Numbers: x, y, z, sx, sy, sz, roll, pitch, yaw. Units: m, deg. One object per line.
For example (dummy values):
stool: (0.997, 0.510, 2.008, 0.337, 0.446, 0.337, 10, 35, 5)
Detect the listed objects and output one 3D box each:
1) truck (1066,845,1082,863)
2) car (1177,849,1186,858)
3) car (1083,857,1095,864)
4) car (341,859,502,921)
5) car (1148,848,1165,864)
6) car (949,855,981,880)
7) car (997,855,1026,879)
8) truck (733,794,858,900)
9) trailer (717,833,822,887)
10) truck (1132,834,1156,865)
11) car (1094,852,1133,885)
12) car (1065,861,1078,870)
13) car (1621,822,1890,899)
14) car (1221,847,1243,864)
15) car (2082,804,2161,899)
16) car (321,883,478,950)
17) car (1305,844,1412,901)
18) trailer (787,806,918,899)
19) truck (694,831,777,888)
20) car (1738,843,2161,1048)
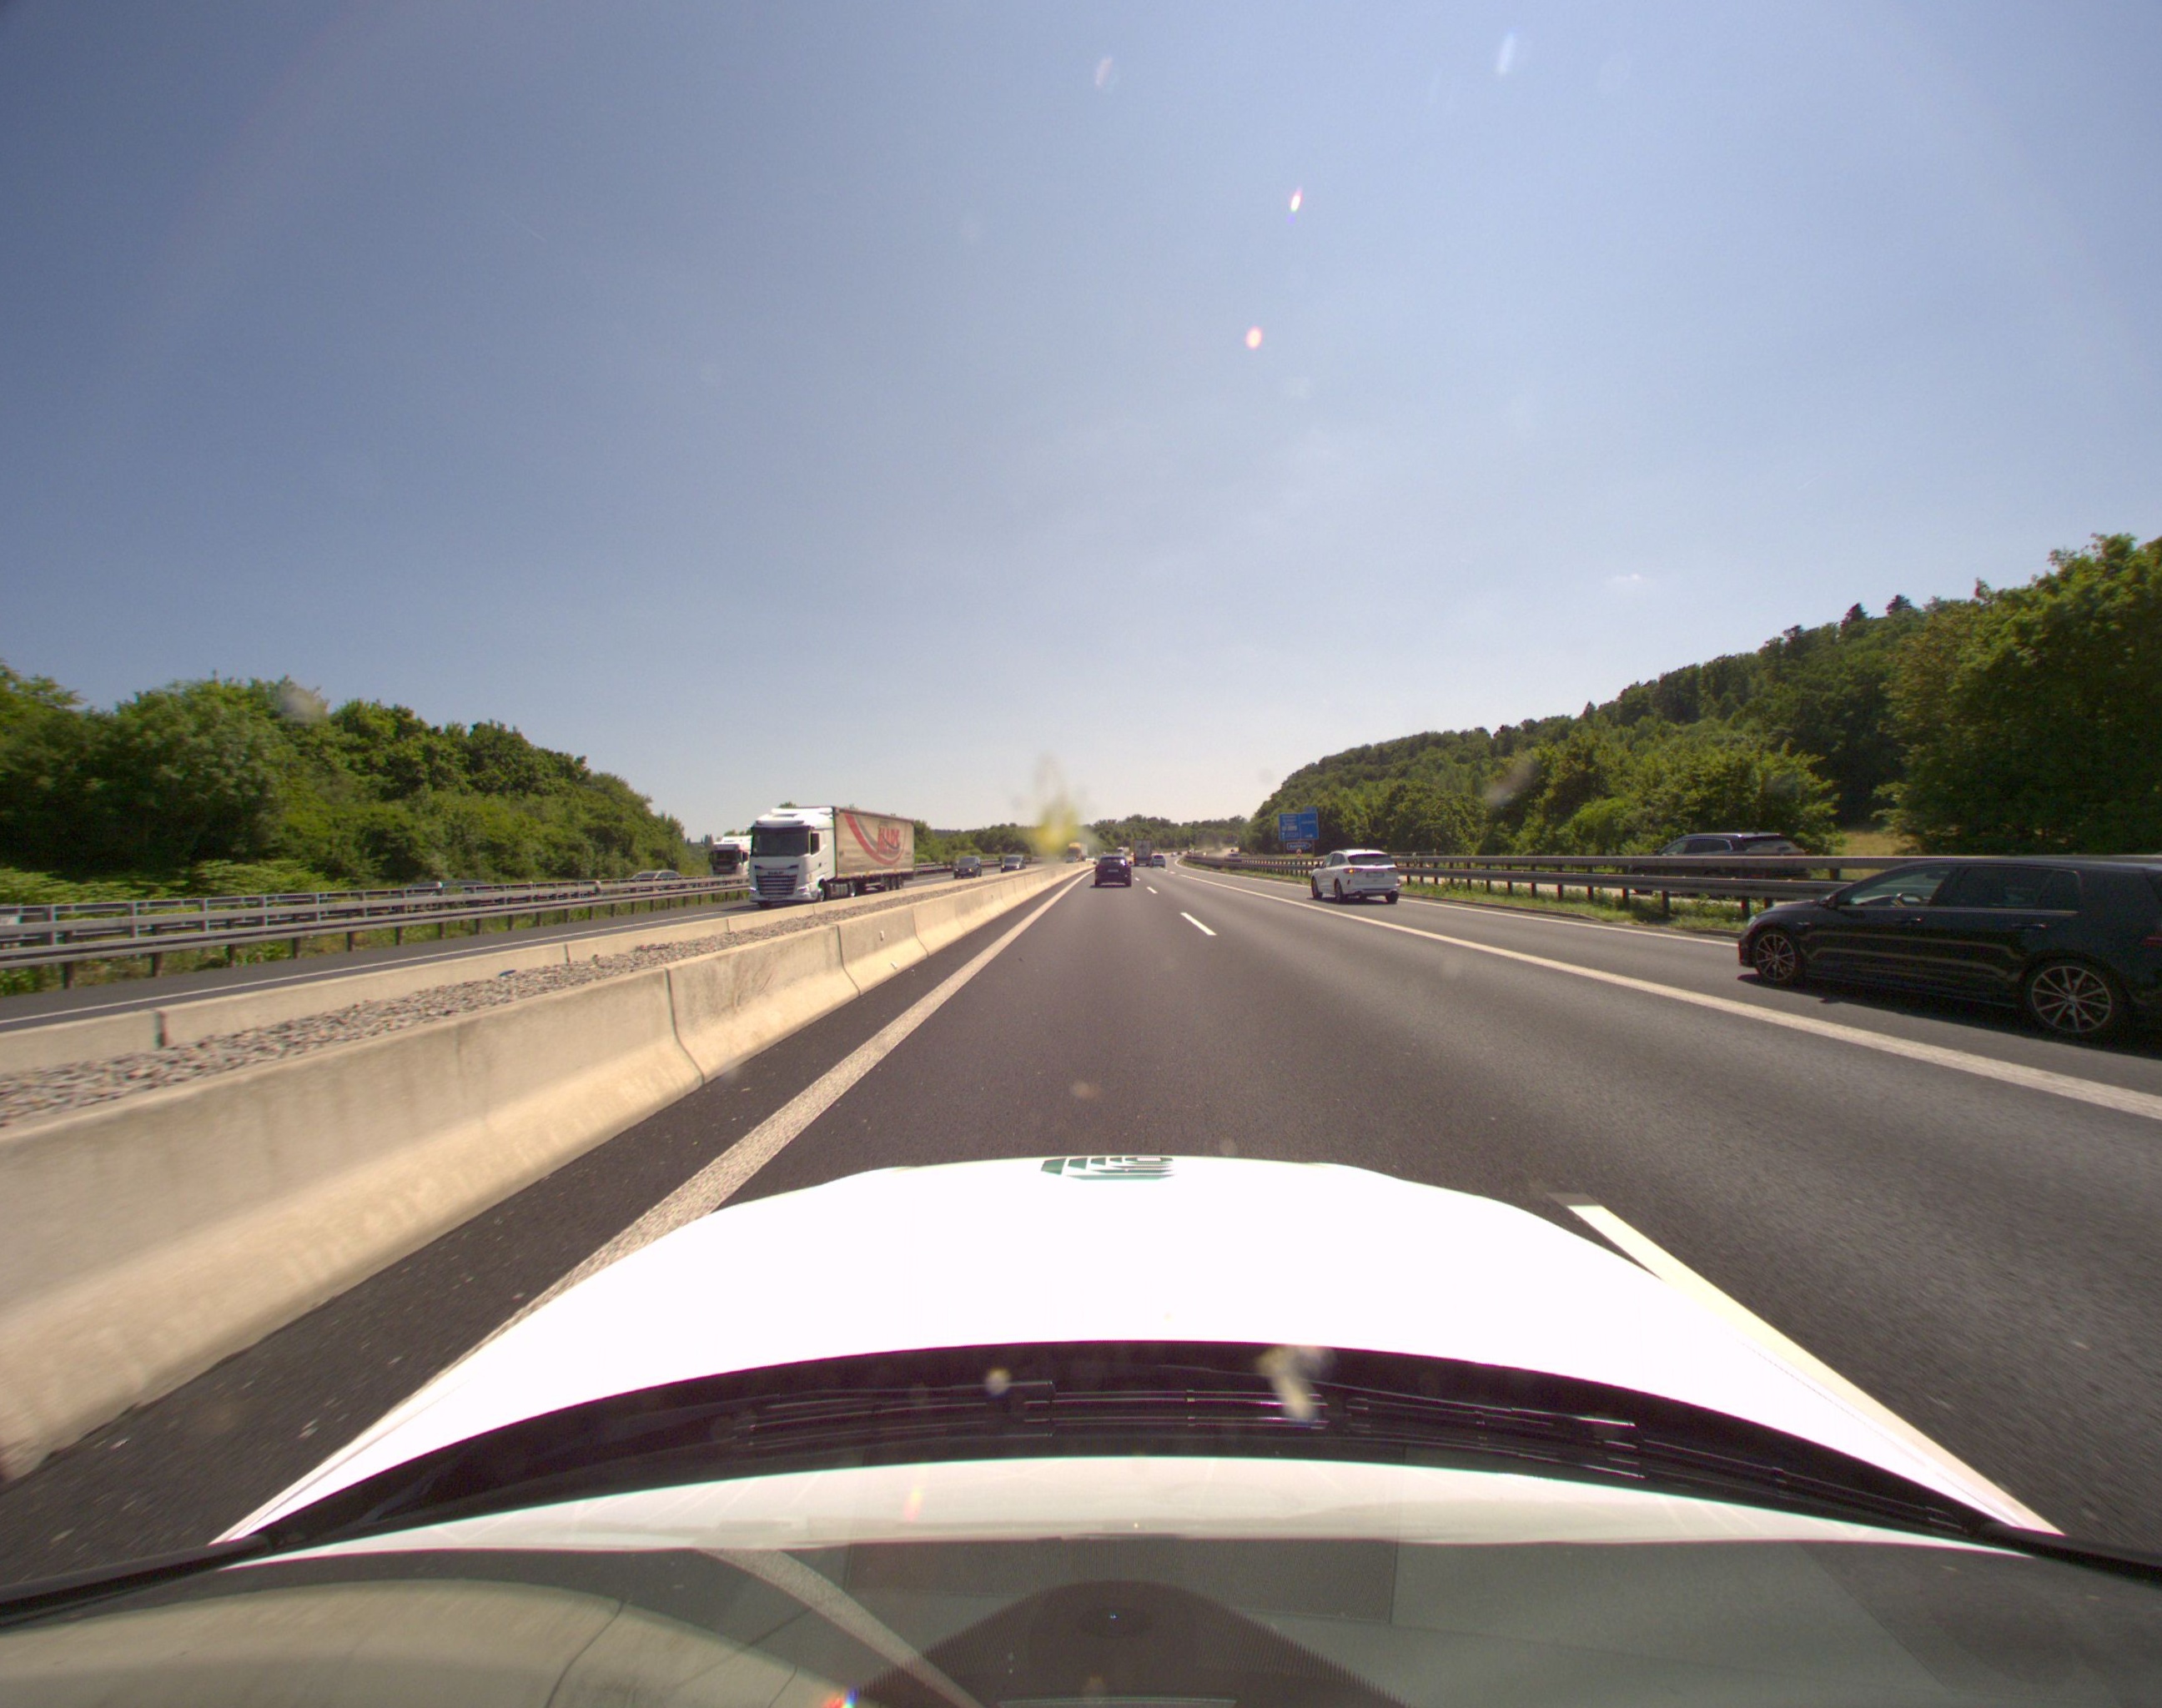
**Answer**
truck: (-1.476, -0.012, 174.653, 2.734, 3.754, 4.877, -1, -1, 8)
car: (22.648, -0.126, 183.376, 1.983, 2.014, 4.007, -1, -1, 6)
car: (1.669, 1.235, 168.033, 1.984, 1.374, 4.669, -1, 0, 5)
car: (-23.002, 1.180, 28.672, 1.987, 2.014, 4.484, -1, 0, 0)
car: (9.995, 0.273, 108.596, 1.985, 2.013, 4.003, -4, 0, 3)
car: (-9.611, 1.089, 67.832, 1.987, 2.014, 4.484, -1, 0, 0)
car: (-6.048, 1.122, 71.300, 2.043, 2.014, 4.956, -1, 0, 1)
truck: (-11.570, -0.240, 33.617, 2.917, 3.973, 5.900, -1, -1, 2)
trailer: (-25.786, 0.486, 68.590, 3.207, 4.045, 13.542, -1, 0, 2)
truck: (9.634, -0.574, 123.420, 3.015, 4.418, 12.043, -1, 0, 7)
car: (1.592, 0.724, 41.034, 1.774, 1.577, 3.998, -1, 0, -1)
car: (-1.565, 1.914, 138.649, 1.720, 1.536, 4.620, -1, 0, 6)
car: (16.497, 0.159, 20.473, 1.988, 1.662, 5.622, -1, 0, -2)
car: (19.169, 0.165, 103.386, 1.987, 2.013, 3.999, -3, 0, 0)
car: (19.949, -0.064, 12.815, 1.987, 1.662, 5.227, -1, 0, 0)
car: (-23.469, 2.088, 28.273, 1.986, 2.014, 4.001, -1, -1, 2)
car: (8.850, 0.564, 26.378, 1.987, 1.662, 4.468, -1, 0, 1)
trailer: (-11.283, -0.017, 41.896, 2.899, 4.045, 12.068, -1, 0, 2)
truck: (-26.036, 0.437, 61.712, 3.208, 4.045, 6.642, -1, -1, 2)
car: (8.490, 0.648, 7.431, 1.788, 1.435, 3.965, -1, 0, 0)
